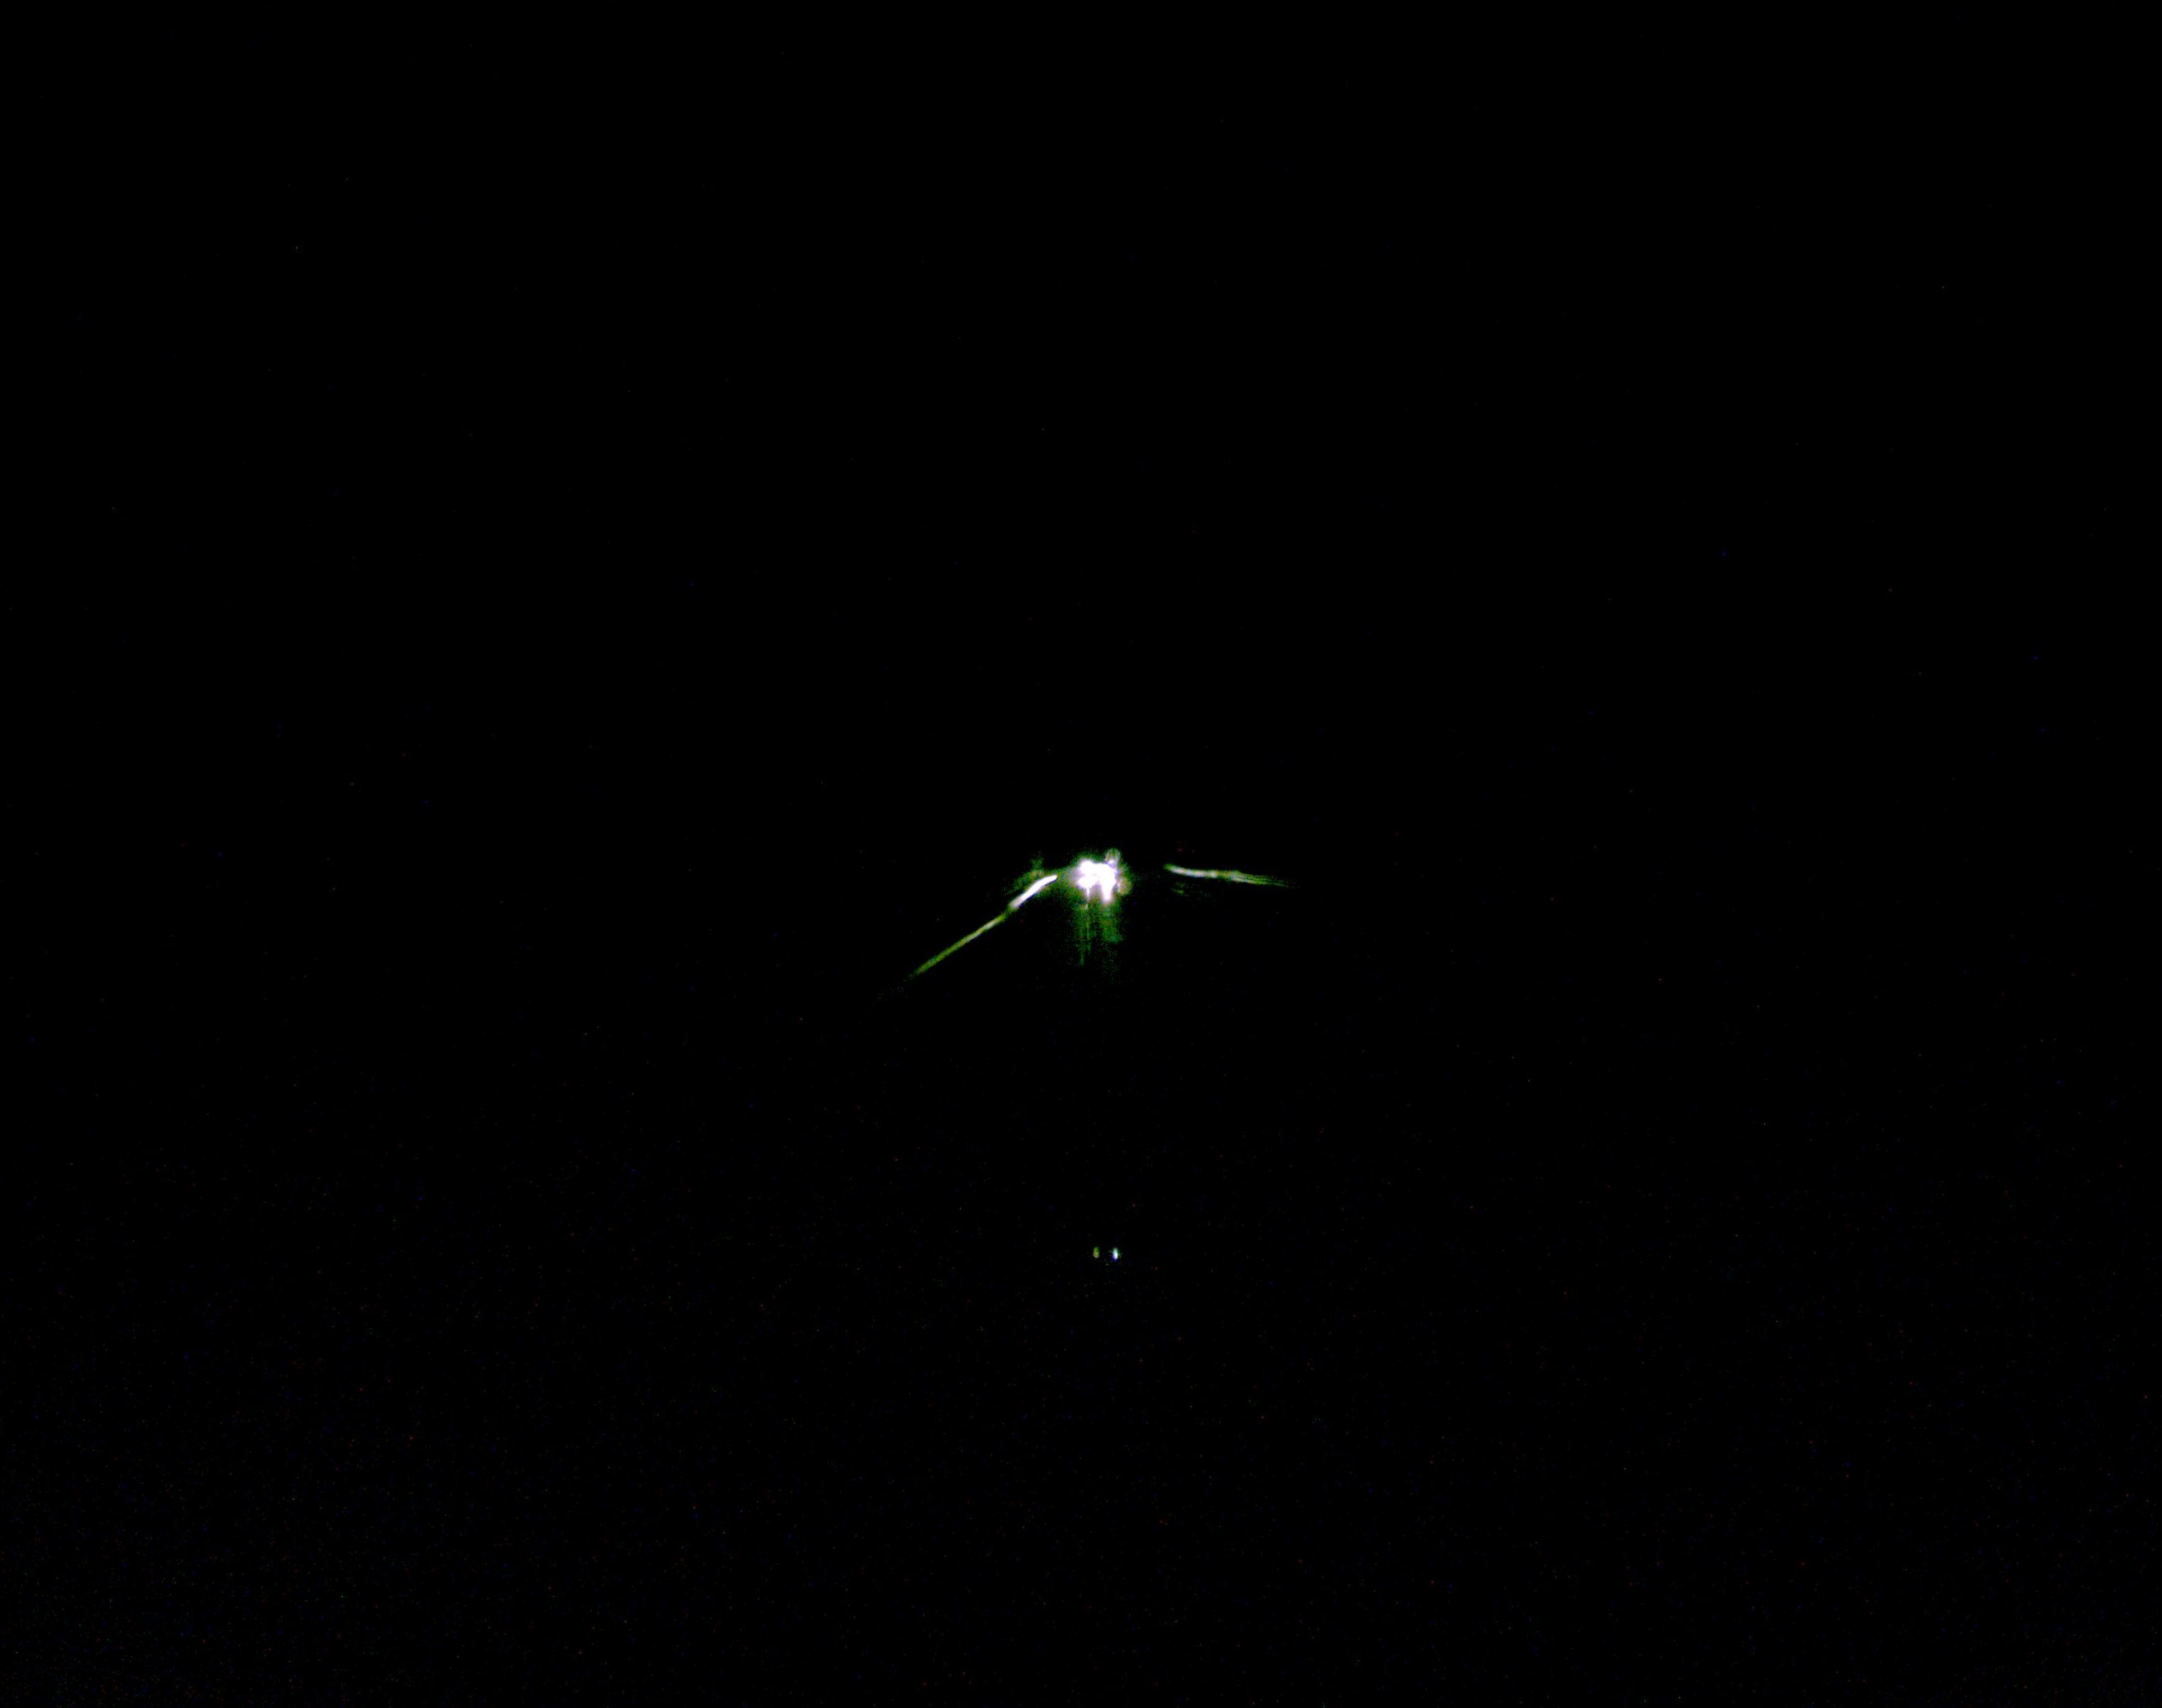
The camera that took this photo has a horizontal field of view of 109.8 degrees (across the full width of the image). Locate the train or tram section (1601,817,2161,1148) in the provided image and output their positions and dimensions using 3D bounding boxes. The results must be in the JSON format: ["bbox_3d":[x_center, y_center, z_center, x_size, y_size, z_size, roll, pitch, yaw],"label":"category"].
[{"bbox_3d":[12.634,1.309,12.064,2.851,3.440,8.552,-1,0,0],"label":"train or tram section"}]

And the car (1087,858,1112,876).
[{"bbox_3d":[1.593,1.109,65.552,1.775,1.444,4.139,-1,-1,6],"label":"car"}]
